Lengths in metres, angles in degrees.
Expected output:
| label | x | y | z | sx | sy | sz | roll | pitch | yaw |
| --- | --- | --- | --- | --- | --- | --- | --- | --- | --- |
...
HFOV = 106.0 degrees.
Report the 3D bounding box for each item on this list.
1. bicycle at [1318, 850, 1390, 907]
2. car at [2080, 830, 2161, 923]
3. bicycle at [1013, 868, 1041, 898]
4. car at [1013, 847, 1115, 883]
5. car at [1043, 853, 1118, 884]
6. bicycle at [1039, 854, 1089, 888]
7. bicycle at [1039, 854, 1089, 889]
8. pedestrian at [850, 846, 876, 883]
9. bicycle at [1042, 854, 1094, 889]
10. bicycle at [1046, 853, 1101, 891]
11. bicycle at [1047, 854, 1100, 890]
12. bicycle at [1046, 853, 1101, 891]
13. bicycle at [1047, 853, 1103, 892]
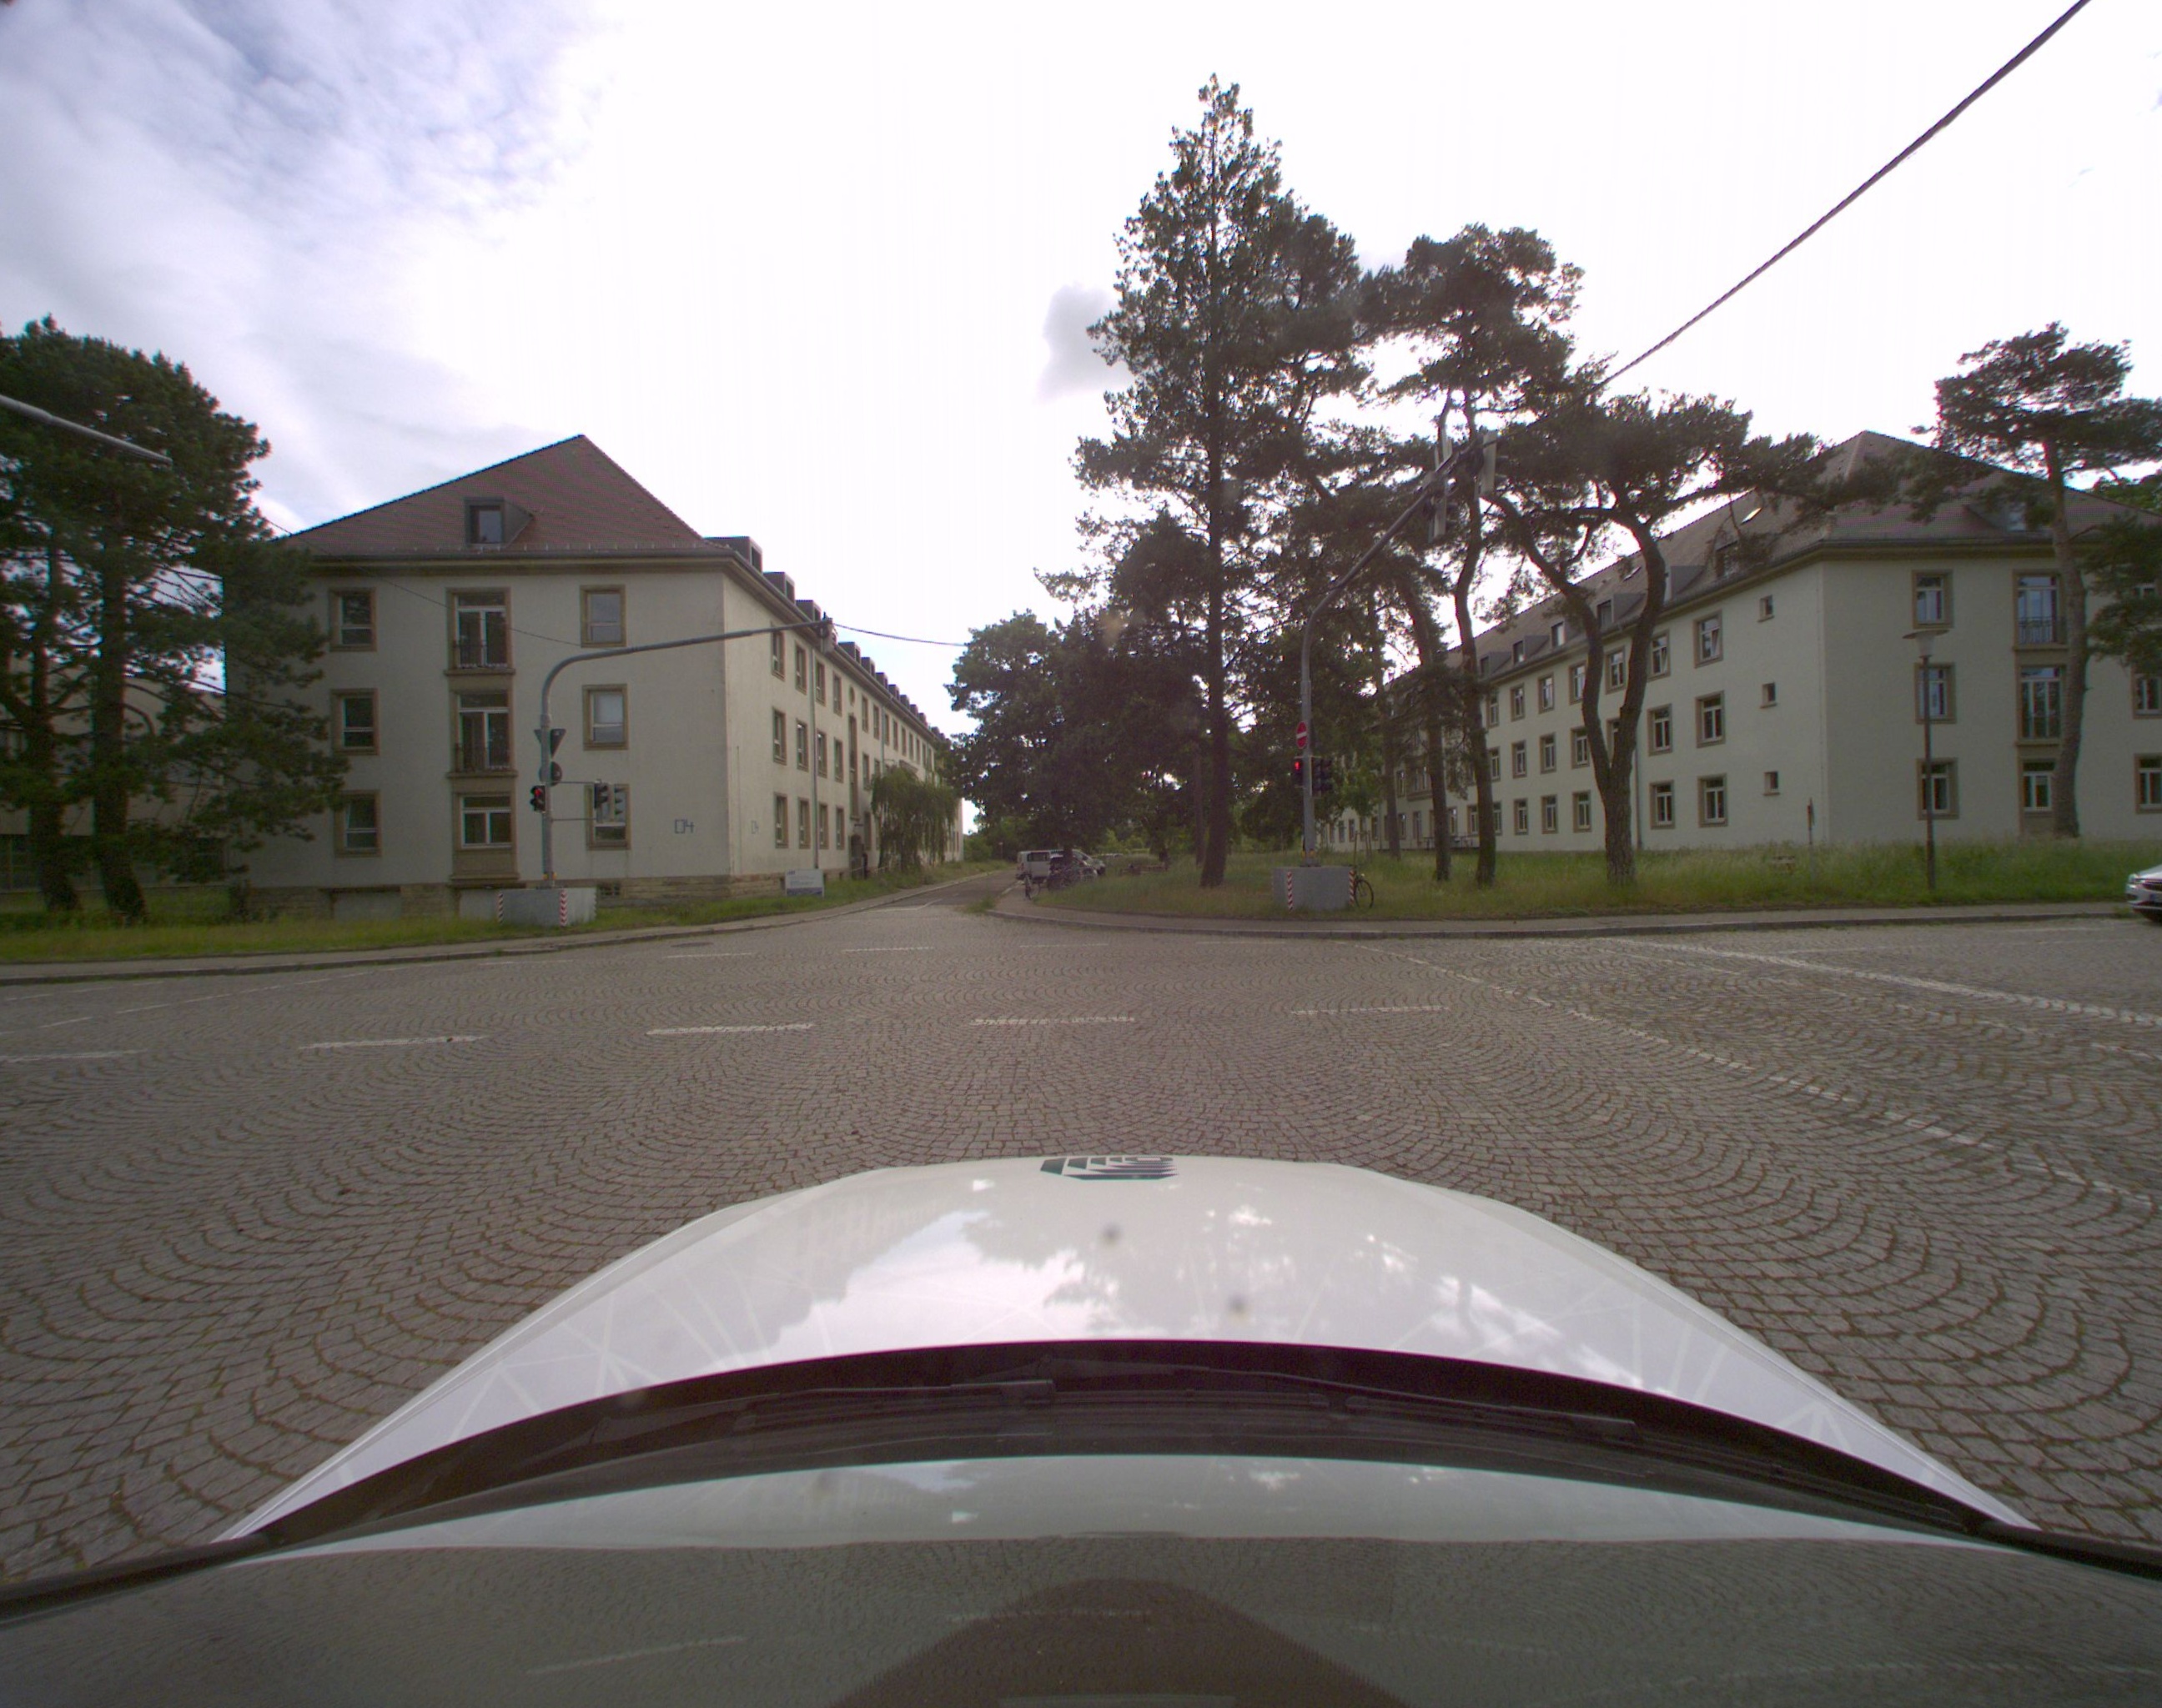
| label | x | y | z | sx | sy | sz | roll | pitch | yaw |
| --- | --- | --- | --- | --- | --- | --- | --- | --- | --- |
| bicycle | 6.070 | 0.518 | 18.248 | 0.906 | 1.177 | 1.873 | -2 | 0 | -2 |
| car | 18.716 | 0.283 | 12.619 | 4.232 | 1.416 | 1.886 | -2 | -2 | -2 |
| bicycle | -1.873 | 1.005 | 28.501 | 0.615 | 0.963 | 2.080 | -2 | 0 | 6 |
| car | -1.020 | 0.639 | 48.211 | 5.699 | 1.910 | 2.220 | -2 | 0 | -14 |
| car | -0.063 | 0.759 | 44.867 | 3.927 | 1.544 | 1.996 | -2 | 0 | -6 |
| bicycle | -0.706 | 0.718 | 34.706 | 2.063 | 1.378 | 0.620 | -2 | 0 | -1 |
| bicycle | -0.706 | 0.712 | 33.959 | 2.063 | 1.378 | 0.620 | -2 | 0 | -1 |
| pedestrian | -12.145 | 0.594 | 45.460 | 1.082 | 2.013 | 1.023 | -2 | 0 | 4 |
| bicycle | -0.542 | 0.706 | 33.226 | 2.063 | 1.378 | 0.620 | -2 | 0 | -1 |
| bicycle | -0.279 | 0.692 | 31.013 | 2.063 | 1.378 | 0.620 | -2 | 0 | -1 |
| bicycle | -0.301 | 0.703 | 32.434 | 2.063 | 1.378 | 0.620 | -2 | 0 | -1 |
| bicycle | -0.294 | 0.697 | 31.637 | 2.063 | 1.378 | 0.620 | -2 | 0 | -1 |
| bicycle | -0.223 | 0.688 | 30.344 | 2.063 | 1.378 | 0.620 | -2 | 0 | -1 |
